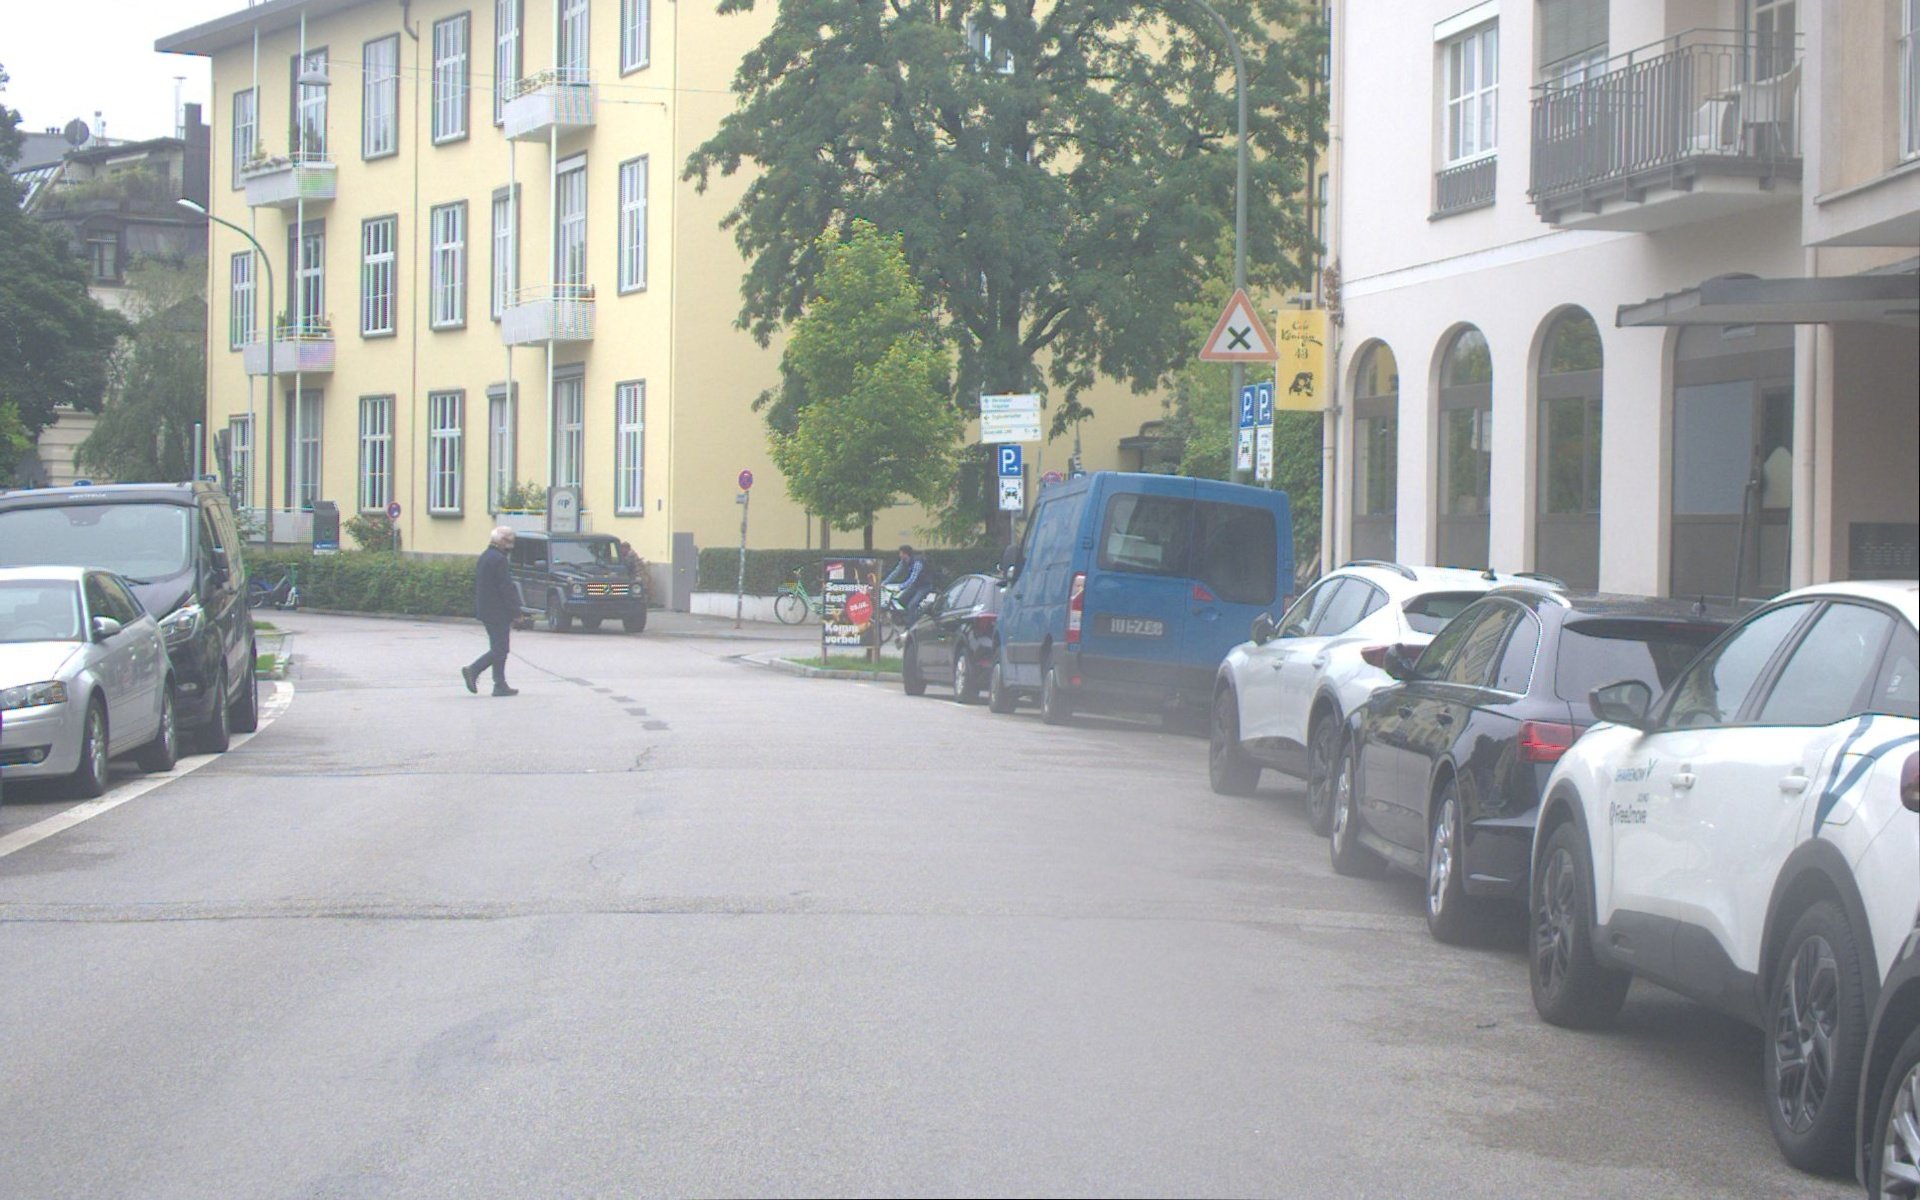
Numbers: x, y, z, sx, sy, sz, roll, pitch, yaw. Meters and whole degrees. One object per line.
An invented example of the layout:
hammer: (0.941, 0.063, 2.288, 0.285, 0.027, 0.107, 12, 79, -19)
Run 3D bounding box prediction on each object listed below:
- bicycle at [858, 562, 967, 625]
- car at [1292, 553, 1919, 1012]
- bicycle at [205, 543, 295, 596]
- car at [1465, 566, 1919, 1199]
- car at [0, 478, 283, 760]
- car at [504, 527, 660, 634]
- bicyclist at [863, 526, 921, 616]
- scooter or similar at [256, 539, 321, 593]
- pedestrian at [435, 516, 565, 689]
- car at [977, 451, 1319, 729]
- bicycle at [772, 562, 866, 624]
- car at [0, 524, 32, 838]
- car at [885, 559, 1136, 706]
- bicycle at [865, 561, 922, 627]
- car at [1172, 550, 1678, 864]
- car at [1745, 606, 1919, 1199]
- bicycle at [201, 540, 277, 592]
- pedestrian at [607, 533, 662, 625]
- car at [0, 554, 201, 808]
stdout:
bicycle: (-0.938, -0.132, 68.435, 2.068, 1.197, 0.595, 1, 1, 13)
car: (2.773, 0.643, 15.160, 1.879, 1.517, 5.164, 4, 1, -2)
bicycle: (-17.695, -0.759, 85.690, 0.734, 1.301, 2.151, 2, 1, 43)
car: (2.839, 0.714, 10.127, 1.694, 1.484, 4.581, 3, 1, -4)
car: (-6.581, 0.100, 26.890, 2.072, 1.957, 5.351, -1, 1, -7)
car: (-7.571, -0.418, 68.536, 1.762, 1.868, 4.380, 5, 0, -23)
bicyclist: (-1.233, -0.526, 61.908, 0.863, 1.602, 0.947, 1, 0, -11)
scooter or similar: (-16.589, -0.840, 84.953, 0.732, 1.301, 2.155, 1, 1, 14)
pedestrian: (-4.838, 0.030, 36.167, 0.934, 1.794, 0.954, -1, -1, 41)
car: (1.637, -0.053, 32.149, 2.078, 2.226, 5.245, 5, -1, -8)
bicycle: (-2.863, -0.147, 69.584, 1.926, 1.197, 0.594, 2, 1, 35)
car: (-5.811, 0.479, 16.353, 1.697, 1.637, 4.491, -2, 1, -2)
car: (0.496, 0.323, 38.286, 1.676, 1.384, 4.307, 5, 0, -14)
bicycle: (-1.206, -0.112, 61.727, 0.670, 1.155, 2.004, 1, 0, -11)
car: (2.606, 0.536, 20.480, 1.785, 1.528, 4.649, 3, 1, -7)
car: (2.785, 0.802, 5.183, 1.745, 1.383, 4.955, 3, 1, -3)
bicycle: (-18.384, -0.873, 87.711, 0.733, 1.301, 2.153, 1, 1, 25)
pedestrian: (-6.505, -0.429, 68.765, 0.874, 1.817, 0.798, 1, 1, -22)
car: (-6.045, 0.444, 21.656, 1.694, 1.388, 4.501, -2, 1, -3)
